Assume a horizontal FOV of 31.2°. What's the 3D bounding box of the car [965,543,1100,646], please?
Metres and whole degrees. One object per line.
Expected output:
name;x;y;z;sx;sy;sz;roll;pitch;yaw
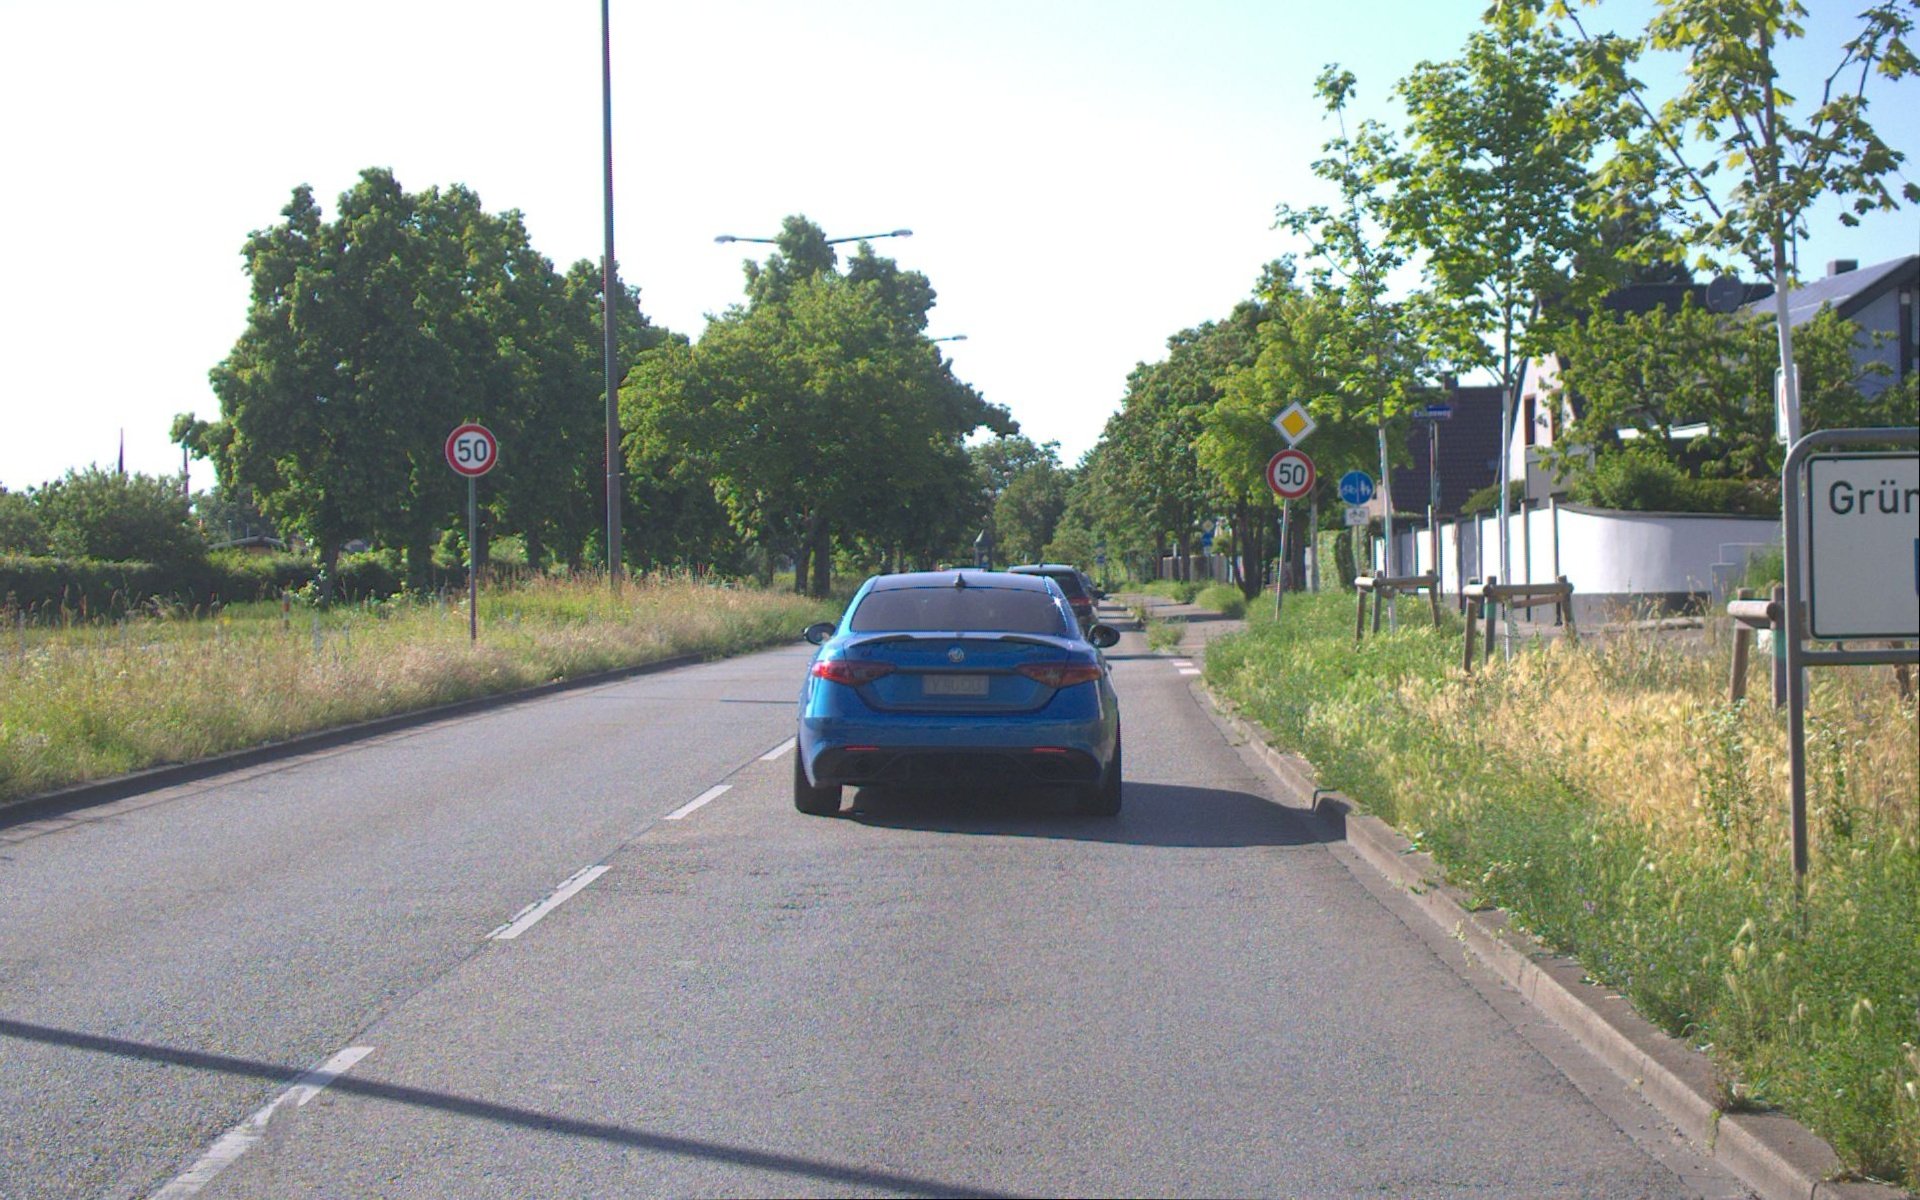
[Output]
car;1.113;-0.109;54.601;1.915;1.574;4.182;0;1;-2

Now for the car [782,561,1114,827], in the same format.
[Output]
car;-0.012;0.499;21.178;1.838;1.469;4.184;0;1;2

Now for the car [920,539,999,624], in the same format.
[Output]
car;0.009;-0.460;83.928;1.793;2.007;4.000;0;0;2
